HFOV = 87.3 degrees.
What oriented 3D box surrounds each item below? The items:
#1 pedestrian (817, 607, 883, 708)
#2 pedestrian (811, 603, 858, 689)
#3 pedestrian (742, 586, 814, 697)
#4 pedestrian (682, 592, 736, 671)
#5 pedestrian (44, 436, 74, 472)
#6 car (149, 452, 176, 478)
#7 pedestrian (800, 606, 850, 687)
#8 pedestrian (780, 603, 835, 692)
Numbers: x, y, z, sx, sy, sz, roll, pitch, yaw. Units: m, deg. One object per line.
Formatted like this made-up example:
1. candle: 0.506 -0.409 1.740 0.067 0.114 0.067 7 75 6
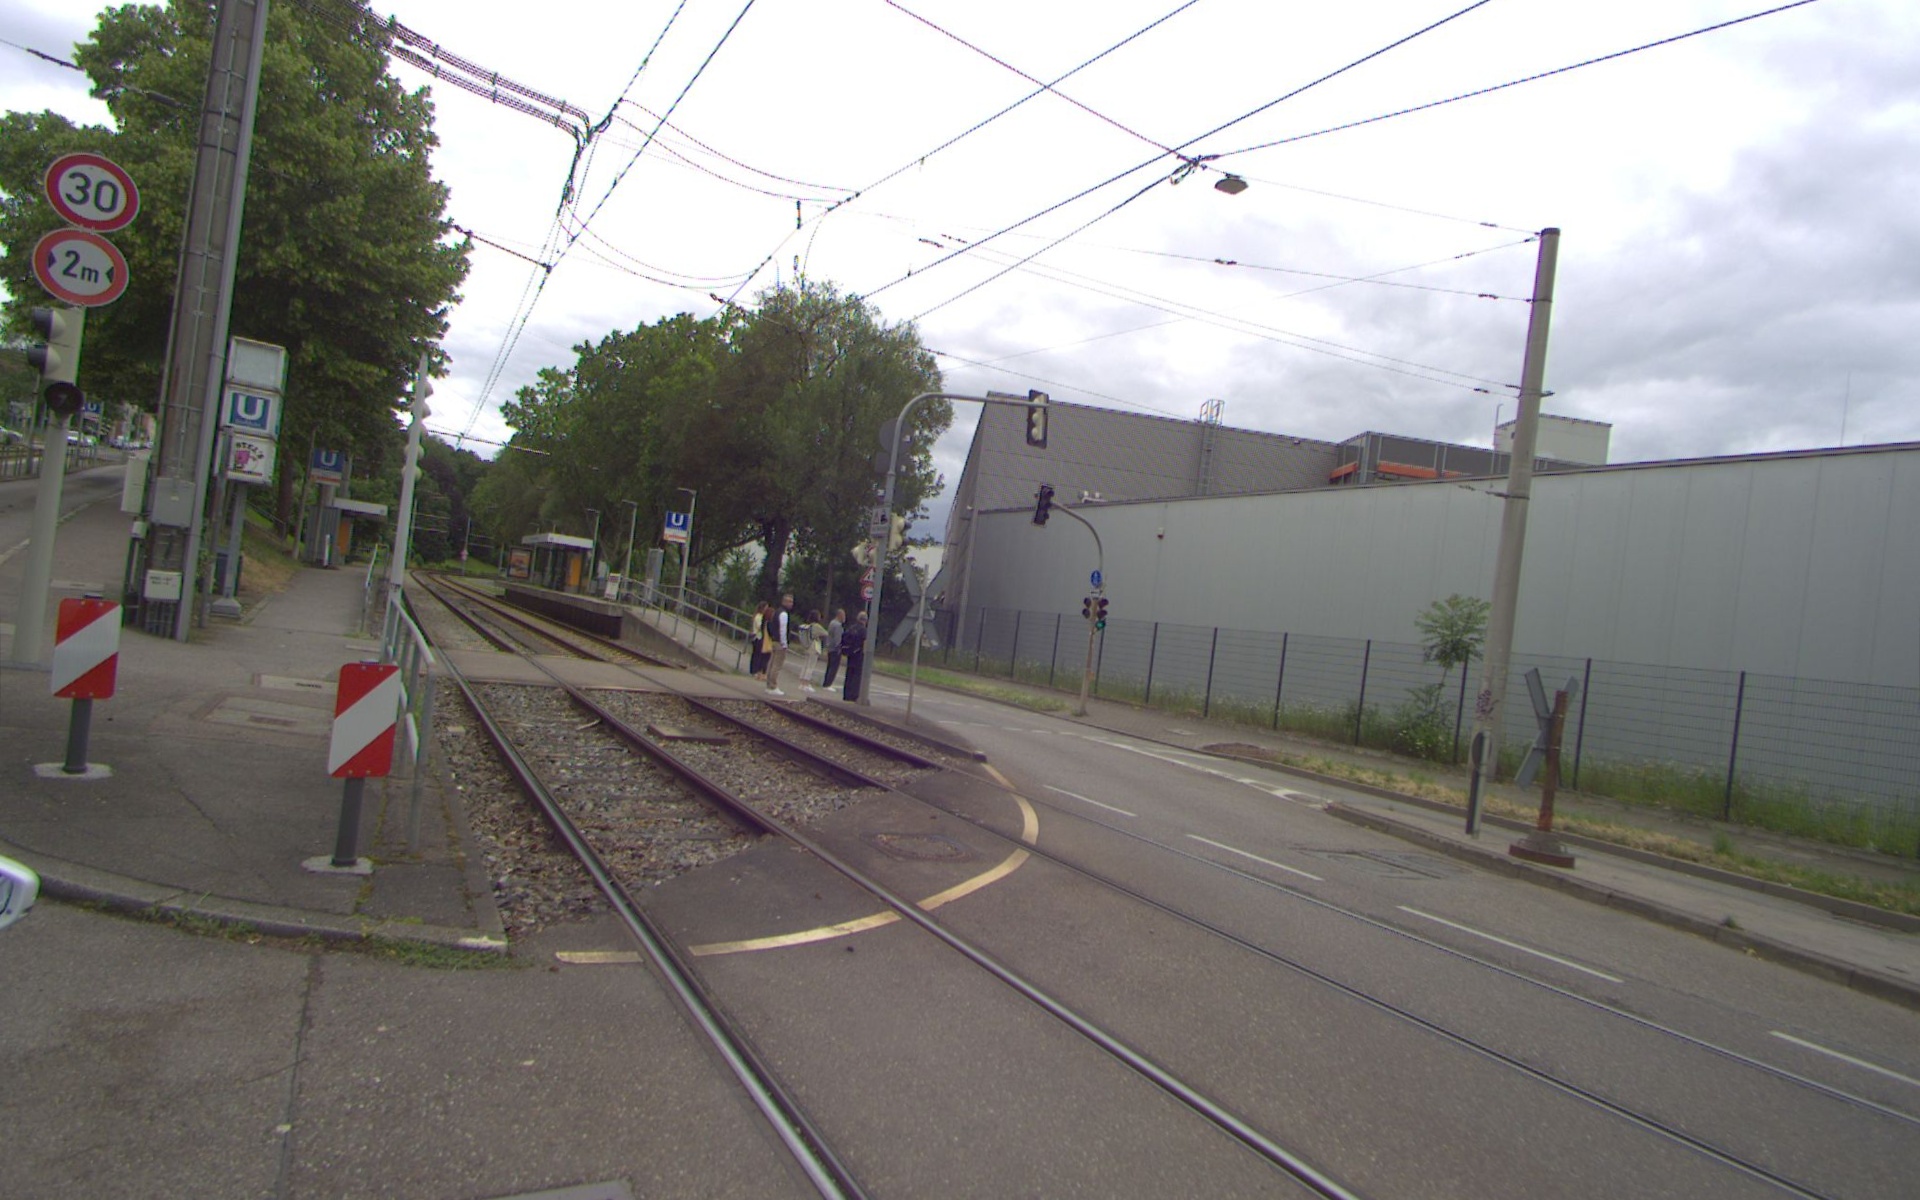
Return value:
1. pedestrian: -1.987 1.036 18.188 0.730 1.682 0.677 11 -3 -29
2. pedestrian: -2.759 0.990 22.048 0.545 1.777 0.733 10 -2 -26
3. pedestrian: -3.221 0.741 17.853 0.659 1.842 0.804 8 0 29
4. pedestrian: -5.817 0.727 23.354 0.733 1.682 0.674 11 -3 -41
5. pedestrian: -39.918 -6.474 44.577 0.740 1.425 0.738 11 1 -38
6. car: -87.598 -14.822 110.583 1.987 2.168 3.958 12 -4 -38
7. pedestrian: -3.059 1.045 22.761 0.674 1.682 0.733 11 -2 -27
8. pedestrian: -3.107 0.956 20.419 0.728 1.682 0.679 10 -2 -20
